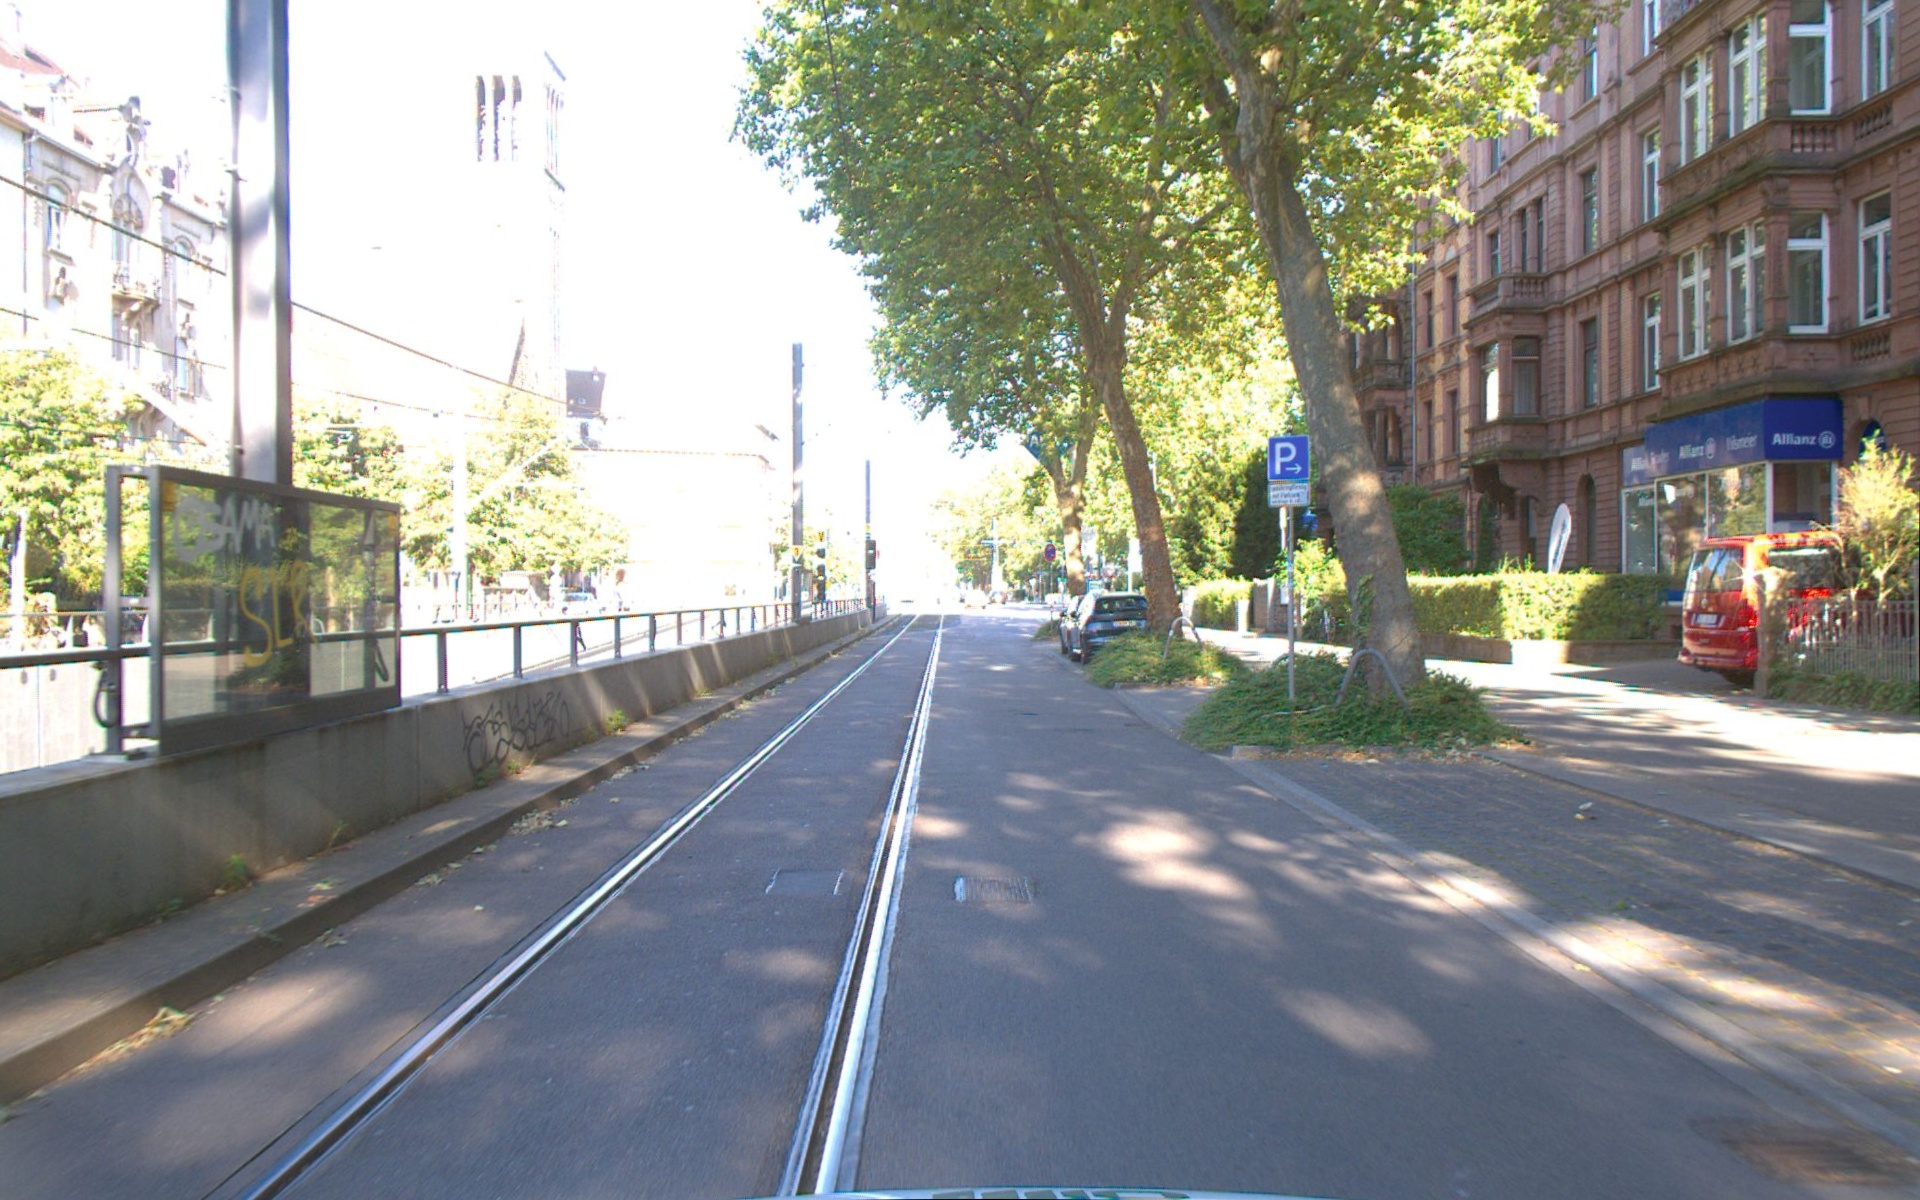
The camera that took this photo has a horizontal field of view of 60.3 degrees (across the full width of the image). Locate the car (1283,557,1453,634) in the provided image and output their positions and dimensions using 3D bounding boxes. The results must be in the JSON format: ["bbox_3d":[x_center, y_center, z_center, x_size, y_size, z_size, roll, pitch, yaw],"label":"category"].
[{"bbox_3d":[11.970,-0.133,48.768,4.480,2.049,1.914,-2,0,-1],"label":"car"}]

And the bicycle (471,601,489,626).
[{"bbox_3d":[-21.021,0.571,72.364,0.479,1.040,1.879,2,0,-24],"label":"bicycle"}]

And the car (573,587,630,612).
[{"bbox_3d":[-27.745,-0.017,128.149,3.904,1.787,1.895,2,0,2],"label":"car"}]

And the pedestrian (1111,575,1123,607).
[{"bbox_3d":[9.191,-0.529,96.927,0.590,1.807,0.690,-4,0,3],"label":"pedestrian"}]

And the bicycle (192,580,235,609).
[{"bbox_3d":[-27.560,-0.199,61.109,0.494,1.036,2.113,2,0,4],"label":"bicycle"}]

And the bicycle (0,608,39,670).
[{"bbox_3d":[-20.726,0.827,35.425,1.694,1.302,0.600,0,0,5],"label":"bicycle"}]

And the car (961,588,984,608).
[{"bbox_3d":[1.007,-0.193,134.203,1.710,1.487,3.643,2,1,-1],"label":"car"}]

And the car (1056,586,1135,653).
[{"bbox_3d":[3.295,0.451,40.719,1.520,1.525,4.049,-1,0,-1],"label":"car"}]

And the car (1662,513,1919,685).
[{"bbox_3d":[11.791,-0.067,21.857,4.092,2.048,1.999,-3,0,-2],"label":"car"}]

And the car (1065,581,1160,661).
[{"bbox_3d":[3.299,0.423,36.460,1.583,1.615,4.416,-1,0,-1],"label":"car"}]

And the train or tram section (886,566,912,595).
[{"bbox_3d":[-7.943,-2.530,215.673,2.892,3.469,10.791,2,0,0],"label":"train or tram section"}]

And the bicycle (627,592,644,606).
[{"bbox_3d":[-31.656,-0.084,161.145,0.813,1.305,2.538,2,0,-31],"label":"bicycle"}]

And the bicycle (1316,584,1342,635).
[{"bbox_3d":[9.442,0.243,42.385,0.330,1.271,1.767,2,0,4],"label":"bicycle"}]

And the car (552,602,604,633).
[{"bbox_3d":[-21.304,0.935,92.390,1.680,1.582,4.511,2,0,1],"label":"car"}]
